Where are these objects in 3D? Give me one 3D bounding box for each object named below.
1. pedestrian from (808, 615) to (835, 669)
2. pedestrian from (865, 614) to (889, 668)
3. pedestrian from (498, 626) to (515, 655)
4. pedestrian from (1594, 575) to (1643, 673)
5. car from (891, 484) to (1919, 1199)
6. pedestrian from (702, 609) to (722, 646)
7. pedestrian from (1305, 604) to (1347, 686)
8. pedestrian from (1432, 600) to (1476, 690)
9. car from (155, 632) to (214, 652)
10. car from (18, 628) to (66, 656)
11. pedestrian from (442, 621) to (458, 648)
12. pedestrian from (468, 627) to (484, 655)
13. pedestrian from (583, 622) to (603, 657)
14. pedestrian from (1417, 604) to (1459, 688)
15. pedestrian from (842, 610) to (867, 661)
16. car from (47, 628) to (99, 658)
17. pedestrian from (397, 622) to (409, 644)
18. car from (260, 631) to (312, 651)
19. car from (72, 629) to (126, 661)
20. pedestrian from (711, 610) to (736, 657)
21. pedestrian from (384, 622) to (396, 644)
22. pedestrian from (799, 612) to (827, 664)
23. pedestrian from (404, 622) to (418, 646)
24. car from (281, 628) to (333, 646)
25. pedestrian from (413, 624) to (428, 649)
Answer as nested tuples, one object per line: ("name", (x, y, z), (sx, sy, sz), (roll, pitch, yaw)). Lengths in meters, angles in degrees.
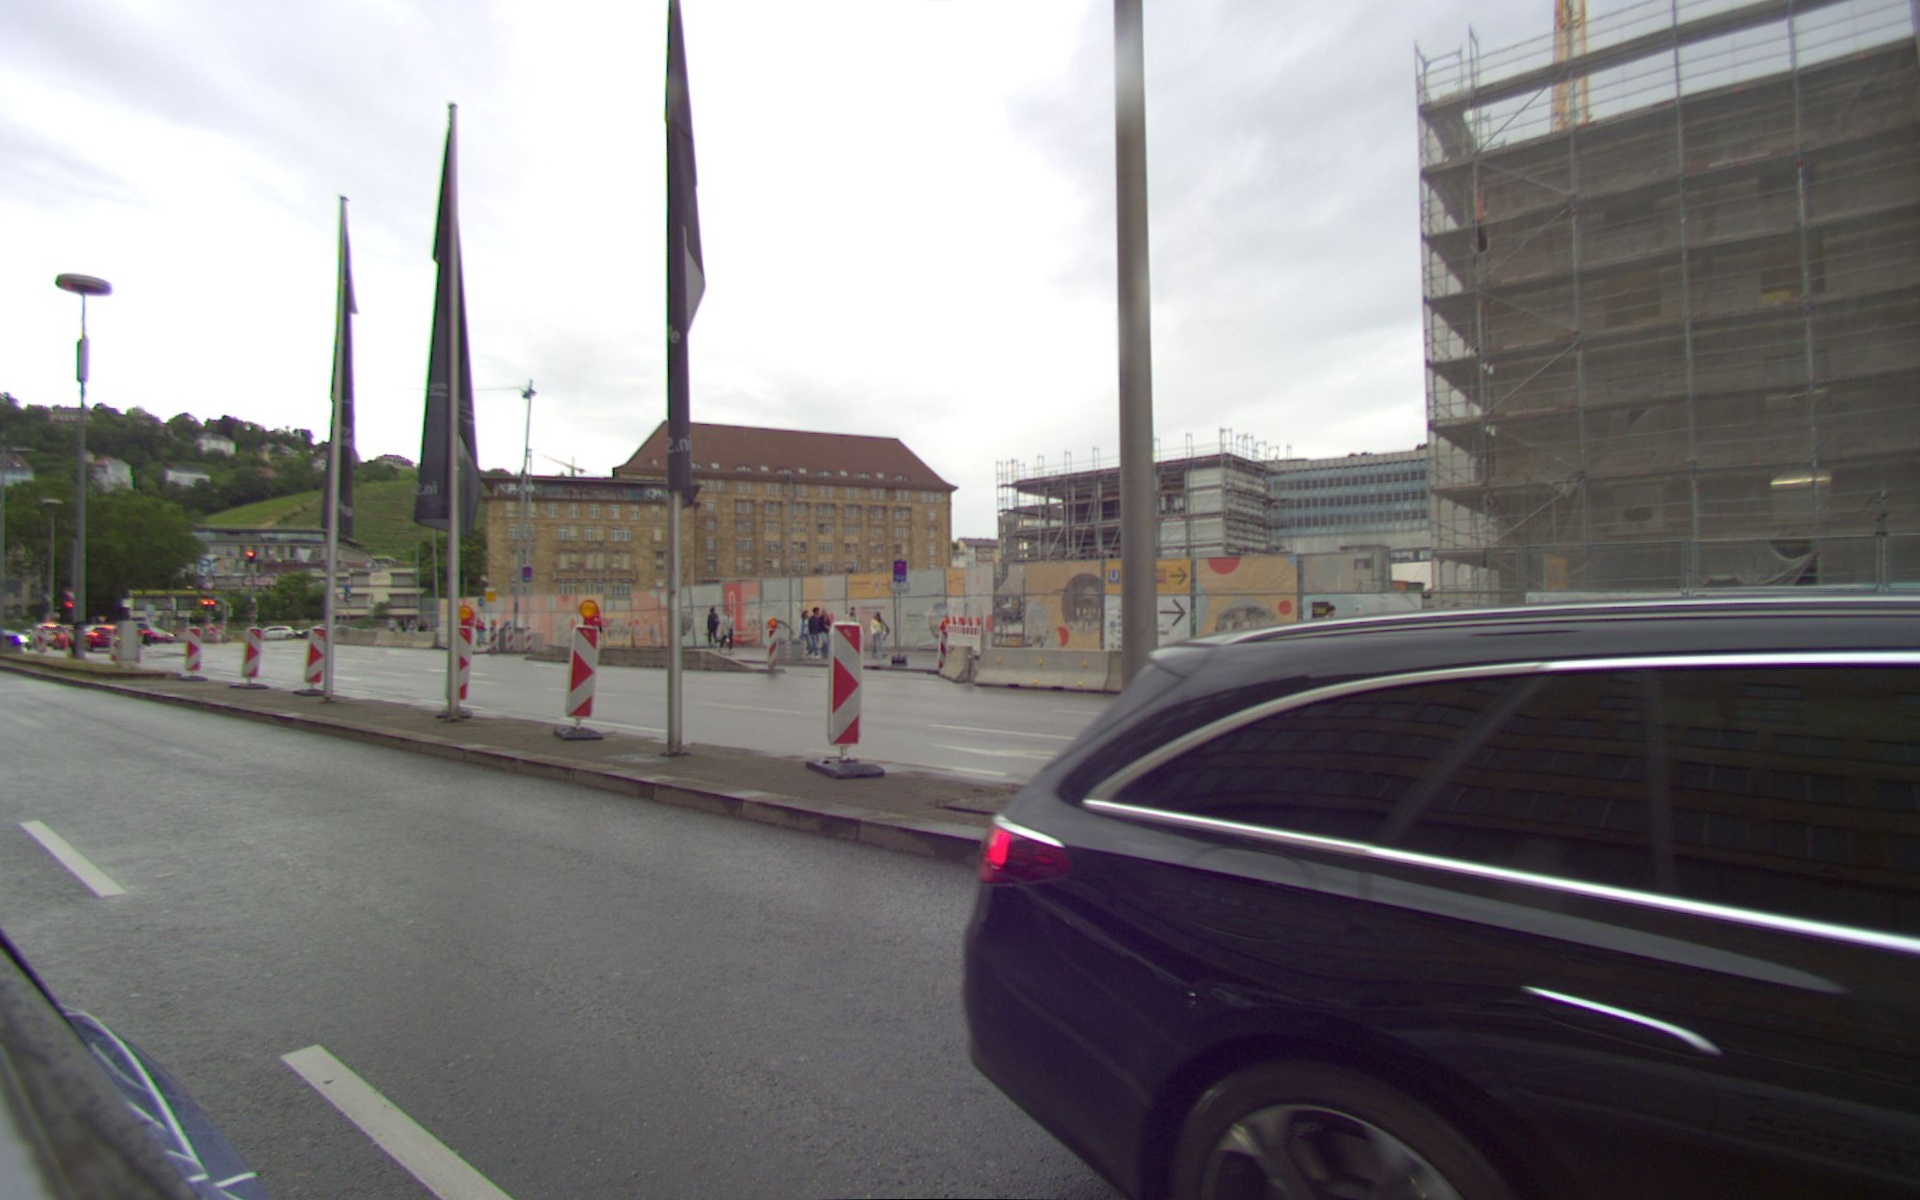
("pedestrian", (-4.877, 1.471, 35.577), (0.704, 1.850, 0.719), (-1, 0, -31))
("pedestrian", (-2.929, 1.438, 35.562), (0.651, 1.850, 0.557), (-1, 0, -29))
("pedestrian", (-26.318, 2.357, 58.761), (0.544, 1.628, 0.706), (-1, 0, 41))
("pedestrian", (12.697, 0.459, 19.515), (0.717, 1.850, 0.475), (-1, 0, 41))
("car", (2.171, 0.589, 1.471), (4.585, 1.480, 1.836), (-1, 0, 41))
("pedestrian", (-11.197, 1.246, 45.682), (0.544, 1.628, 0.706), (-1, 0, 41))
("pedestrian", (8.448, 1.017, 23.350), (0.717, 1.850, 0.579), (-1, 0, 41))
("pedestrian", (10.445, 0.940, 21.412), (0.717, 1.850, 0.475), (-1, 0, 41))
("car", (-66.990, 3.579, 87.496), (3.934, 1.644, 2.005), (0, -2, -36))
("car", (-59.730, 2.681, 65.855), (3.913, 1.707, 1.763), (-1, 0, 40))
("pedestrian", (-31.628, 2.133, 62.747), (0.544, 1.628, 0.706), (-1, 0, 41))
("pedestrian", (-29.196, 2.453, 61.050), (0.544, 1.628, 0.706), (-1, 0, 41))
("pedestrian", (-17.470, 1.857, 48.150), (0.544, 1.628, 0.706), (-1, 0, 41))
("pedestrian", (10.671, 1.012, 22.595), (0.717, 1.850, 0.475), (-1, 0, 41))
("pedestrian", (-3.699, 1.235, 35.451), (0.704, 1.757, 0.565), (-1, 0, -29))
("car", (-53.823, 2.580, 61.380), (3.913, 1.707, 1.763), (-1, 0, 40))
("pedestrian", (-42.005, 2.458, 76.267), (0.704, 1.628, 0.545), (-1, 0, -37))
("car", (-68.662, 4.122, 103.138), (4.136, 1.871, 1.833), (-1, 0, -44))
("car", (-48.524, 2.500, 57.019), (3.914, 1.707, 1.762), (-2, -2, 41))
("pedestrian", (-9.449, 1.334, 40.497), (0.720, 1.850, 0.656), (-1, 0, 41))
("pedestrian", (-42.643, 2.468, 75.760), (0.704, 1.628, 0.545), (-1, 0, -38))
("pedestrian", (-5.035, 1.286, 34.538), (0.704, 1.746, 0.719), (-1, 0, -31))
("pedestrian", (-39.063, 2.406, 72.002), (0.544, 1.628, 0.706), (-1, 0, 41))
("car", (-60.298, 3.398, 93.506), (3.934, 1.644, 2.005), (0, -2, -36))
("pedestrian", (-36.042, 2.429, 67.599), (0.544, 1.628, 0.706), (-1, 0, 41))
